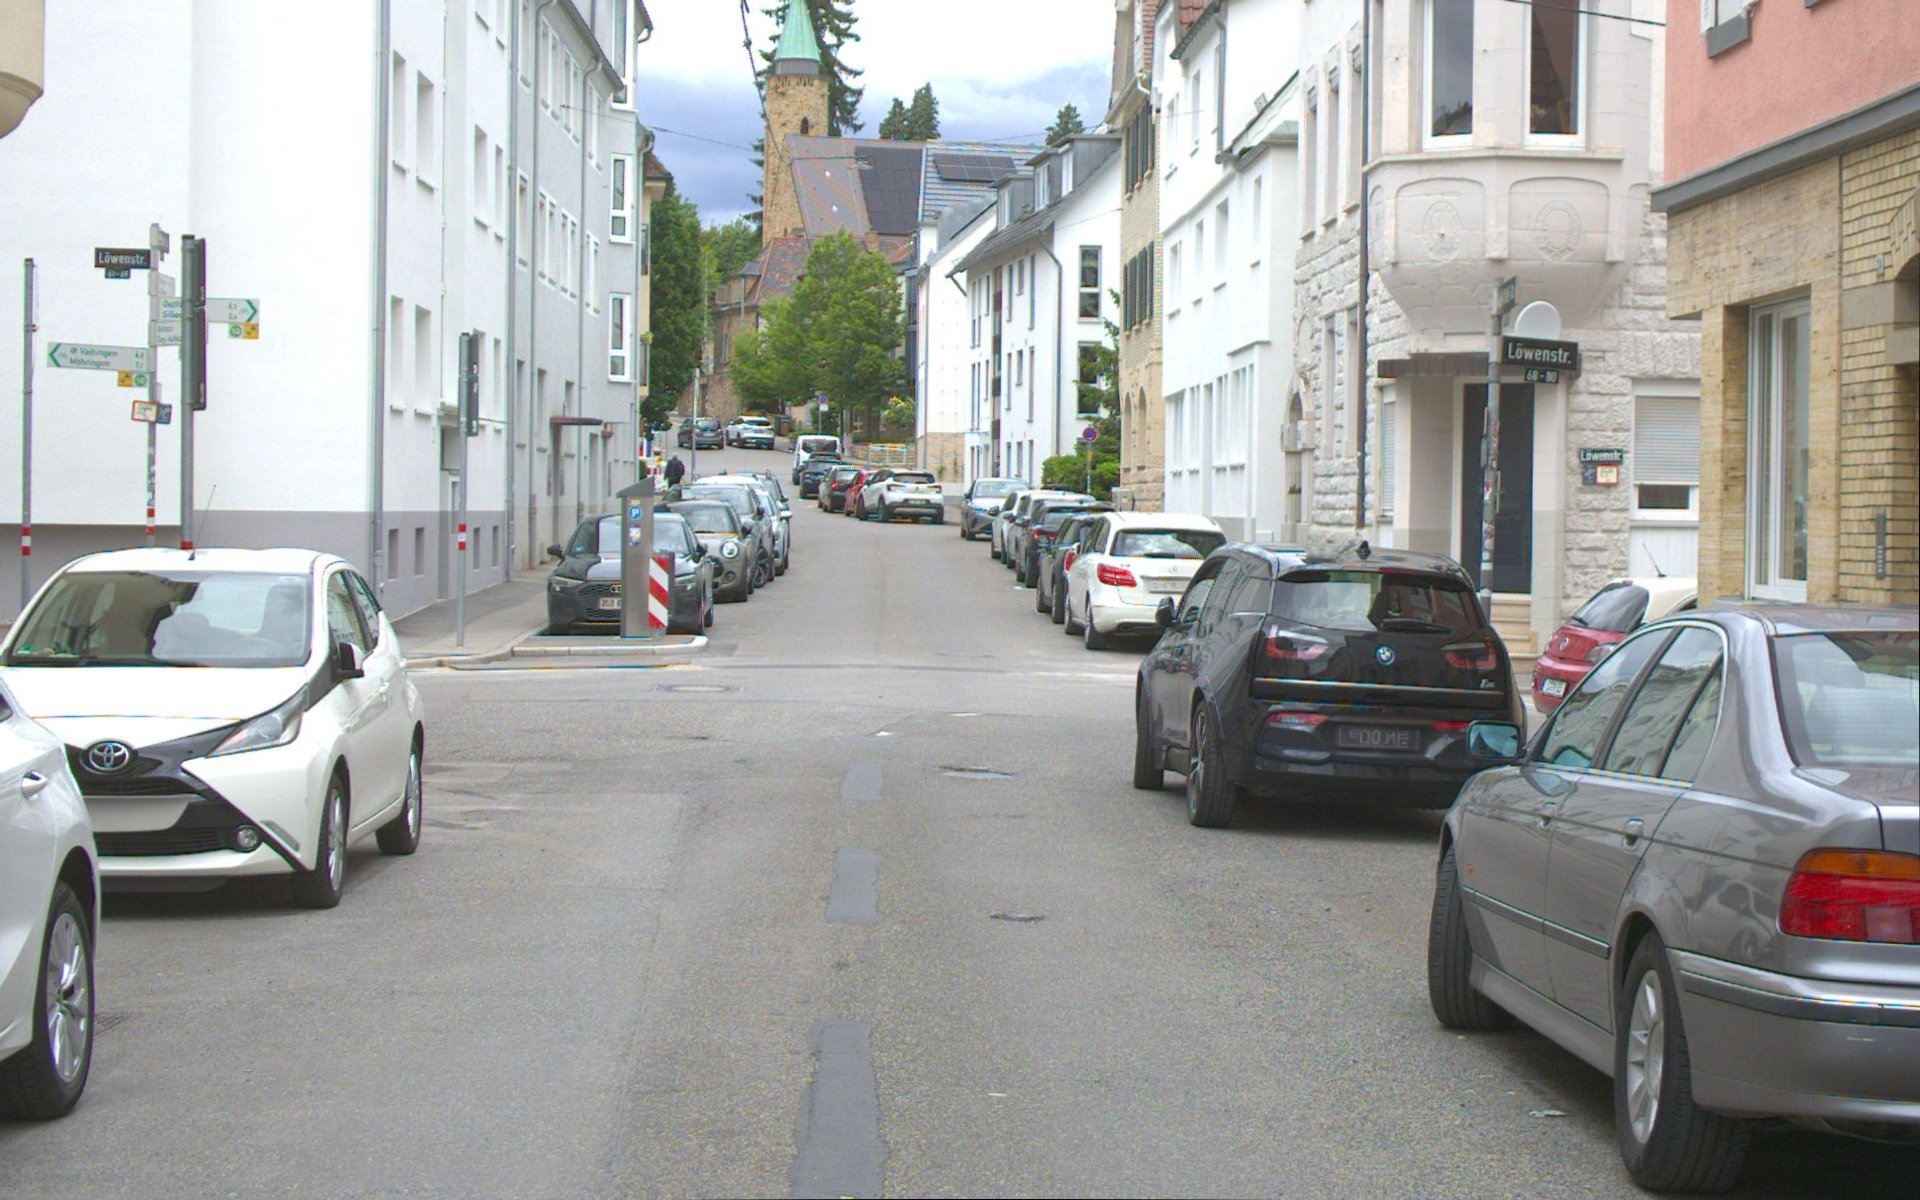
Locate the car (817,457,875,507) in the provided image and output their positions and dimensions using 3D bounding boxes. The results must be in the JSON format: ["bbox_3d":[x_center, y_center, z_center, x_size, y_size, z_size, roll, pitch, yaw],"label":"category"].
[{"bbox_3d":[-3.621,-3.744,108.843,1.667,1.474,3.627,1,3,-4],"label":"car"}]

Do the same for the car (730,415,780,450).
[{"bbox_3d":[-10.513,-8.599,176.121,2.181,1.687,3.627,1,3,-9],"label":"car"}]

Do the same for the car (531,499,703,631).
[{"bbox_3d":[-3.966,-0.455,40.327,1.820,1.386,4.299,0,3,-3],"label":"car"}]

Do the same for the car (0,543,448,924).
[{"bbox_3d":[-3.357,0.506,15.150,1.666,1.429,3.816,-2,0,-1],"label":"car"}]

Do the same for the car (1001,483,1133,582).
[{"bbox_3d":[1.694,-1.121,55.586,1.667,1.380,4.029,2,3,-4],"label":"car"}]

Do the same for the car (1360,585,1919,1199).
[{"bbox_3d":[2.383,0.725,9.423,1.786,1.412,4.578,3,0,-2],"label":"car"}]

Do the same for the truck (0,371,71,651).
[{"bbox_3d":[-11.640,-0.847,32.032,6.265,2.543,2.318,1,0,-8],"label":"truck"}]

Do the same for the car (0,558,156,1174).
[{"bbox_3d":[-3.109,0.645,7.453,1.751,1.427,4.370,-2,0,-1],"label":"car"}]

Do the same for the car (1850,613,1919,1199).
[{"bbox_3d":[2.495,0.779,4.101,1.751,1.427,3.928,2,0,-1],"label":"car"}]

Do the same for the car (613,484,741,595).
[{"bbox_3d":[-4.055,-0.901,49.658,1.730,1.484,3.720,0,3,-3],"label":"car"}]

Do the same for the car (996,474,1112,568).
[{"bbox_3d":[1.657,-1.442,61.719,1.667,1.474,3.627,2,3,-4],"label":"car"}]

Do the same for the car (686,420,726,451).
[{"bbox_3d":[-12.830,-8.282,173.432,1.667,1.474,3.627,1,3,-9],"label":"car"}]

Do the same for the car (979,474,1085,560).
[{"bbox_3d":[1.368,-1.629,66.485,1.667,1.474,3.627,2,3,-4],"label":"car"}]

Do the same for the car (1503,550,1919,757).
[{"bbox_3d":[6.425,0.427,27.797,3.613,1.474,1.674,2,2,-9],"label":"car"}]

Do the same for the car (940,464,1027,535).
[{"bbox_3d":[0.510,-2.340,79.406,1.667,1.474,3.627,2,3,-4],"label":"car"}]

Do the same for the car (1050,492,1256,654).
[{"bbox_3d":[2.188,-0.361,39.980,1.820,1.593,4.029,2,3,-4],"label":"car"}]

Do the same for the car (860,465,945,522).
[{"bbox_3d":[-1.661,-3.036,97.782,1.783,1.474,3.628,1,3,-11],"label":"car"}]

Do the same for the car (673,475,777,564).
[{"bbox_3d":[-4.040,-1.411,59.510,1.730,1.443,3.720,0,3,-3],"label":"car"}]

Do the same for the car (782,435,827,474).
[{"bbox_3d":[-6.213,-5.833,137.392,1.667,1.474,3.627,1,3,-4],"label":"car"}]

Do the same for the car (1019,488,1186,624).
[{"bbox_3d":[1.822,-0.613,45.108,1.667,1.527,4.029,2,3,-4],"label":"car"}]

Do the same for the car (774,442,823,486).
[{"bbox_3d":[-5.914,-4.989,125.662,1.667,1.474,3.627,1,3,-4],"label":"car"}]

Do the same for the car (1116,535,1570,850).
[{"bbox_3d":[2.074,0.442,19.776,1.817,1.538,4.028,2,1,-4],"label":"car"}]
